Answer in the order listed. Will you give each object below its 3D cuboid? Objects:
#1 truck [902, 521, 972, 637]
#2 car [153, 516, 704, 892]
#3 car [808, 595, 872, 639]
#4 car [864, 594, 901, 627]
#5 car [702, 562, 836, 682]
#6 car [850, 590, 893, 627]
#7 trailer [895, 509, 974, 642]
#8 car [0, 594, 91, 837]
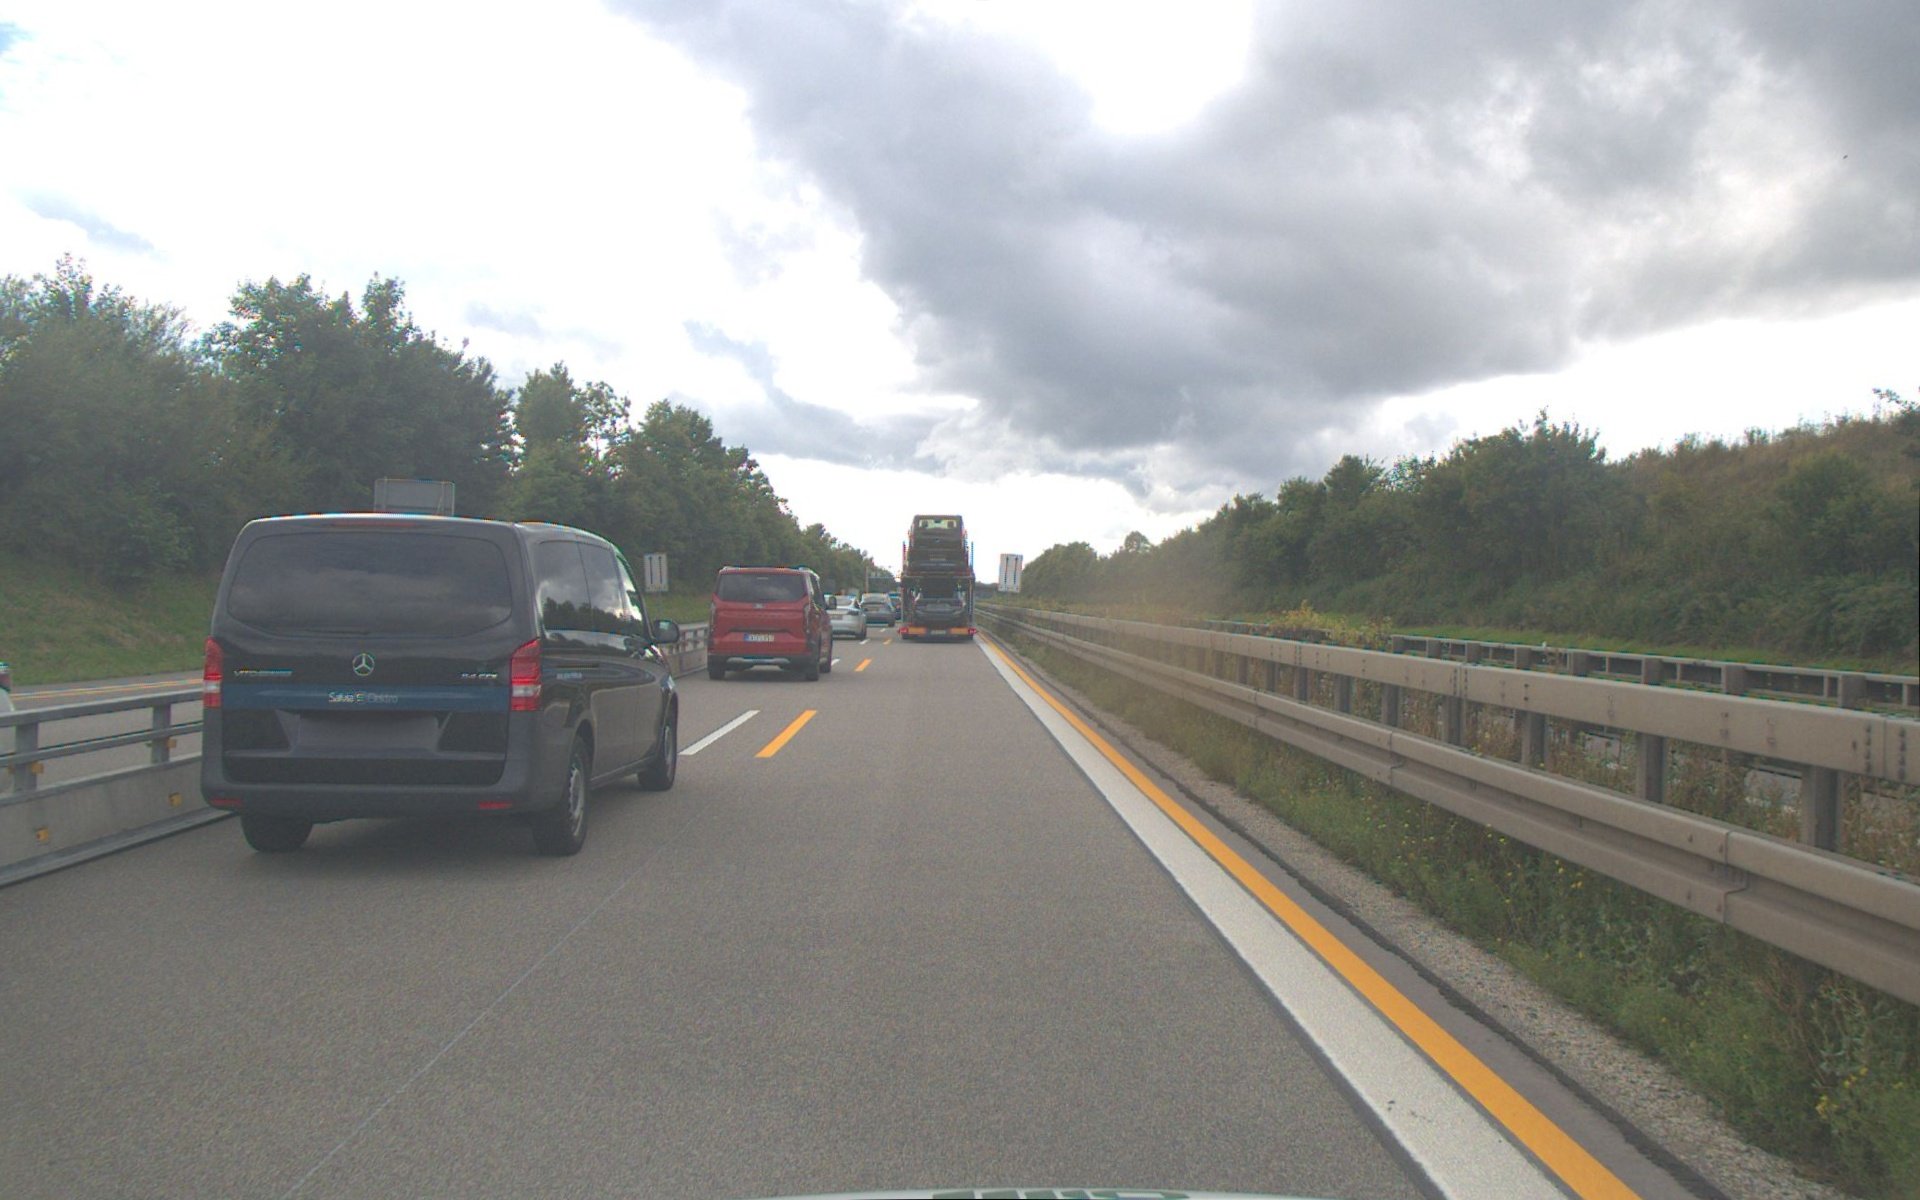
[{"bbox_3d":[-0.837,-0.752,62.567,2.464,4.177,5.684,1,0,0],"label":"truck"},{"bbox_3d":[-3.089,0.518,11.084,1.953,1.875,5.608,0,0,-1],"label":"car"},{"bbox_3d":[-4.096,0.552,57.250,1.990,1.456,4.576,0,0,-2],"label":"car"},{"bbox_3d":[-4.383,0.576,93.834,1.990,1.788,4.576,0,0,-2],"label":"car"},{"bbox_3d":[-3.443,0.377,30.619,1.990,2.049,4.577,0,0,-1],"label":"car"},{"bbox_3d":[-4.322,0.397,81.703,1.990,1.788,4.576,0,0,-2],"label":"car"},{"bbox_3d":[-0.835,-0.762,57.807,2.464,4.177,11.112,1,0,0],"label":"trailer"},{"bbox_3d":[-6.438,0.667,8.503,1.722,1.412,4.325,2,0,-2],"label":"car"}]
